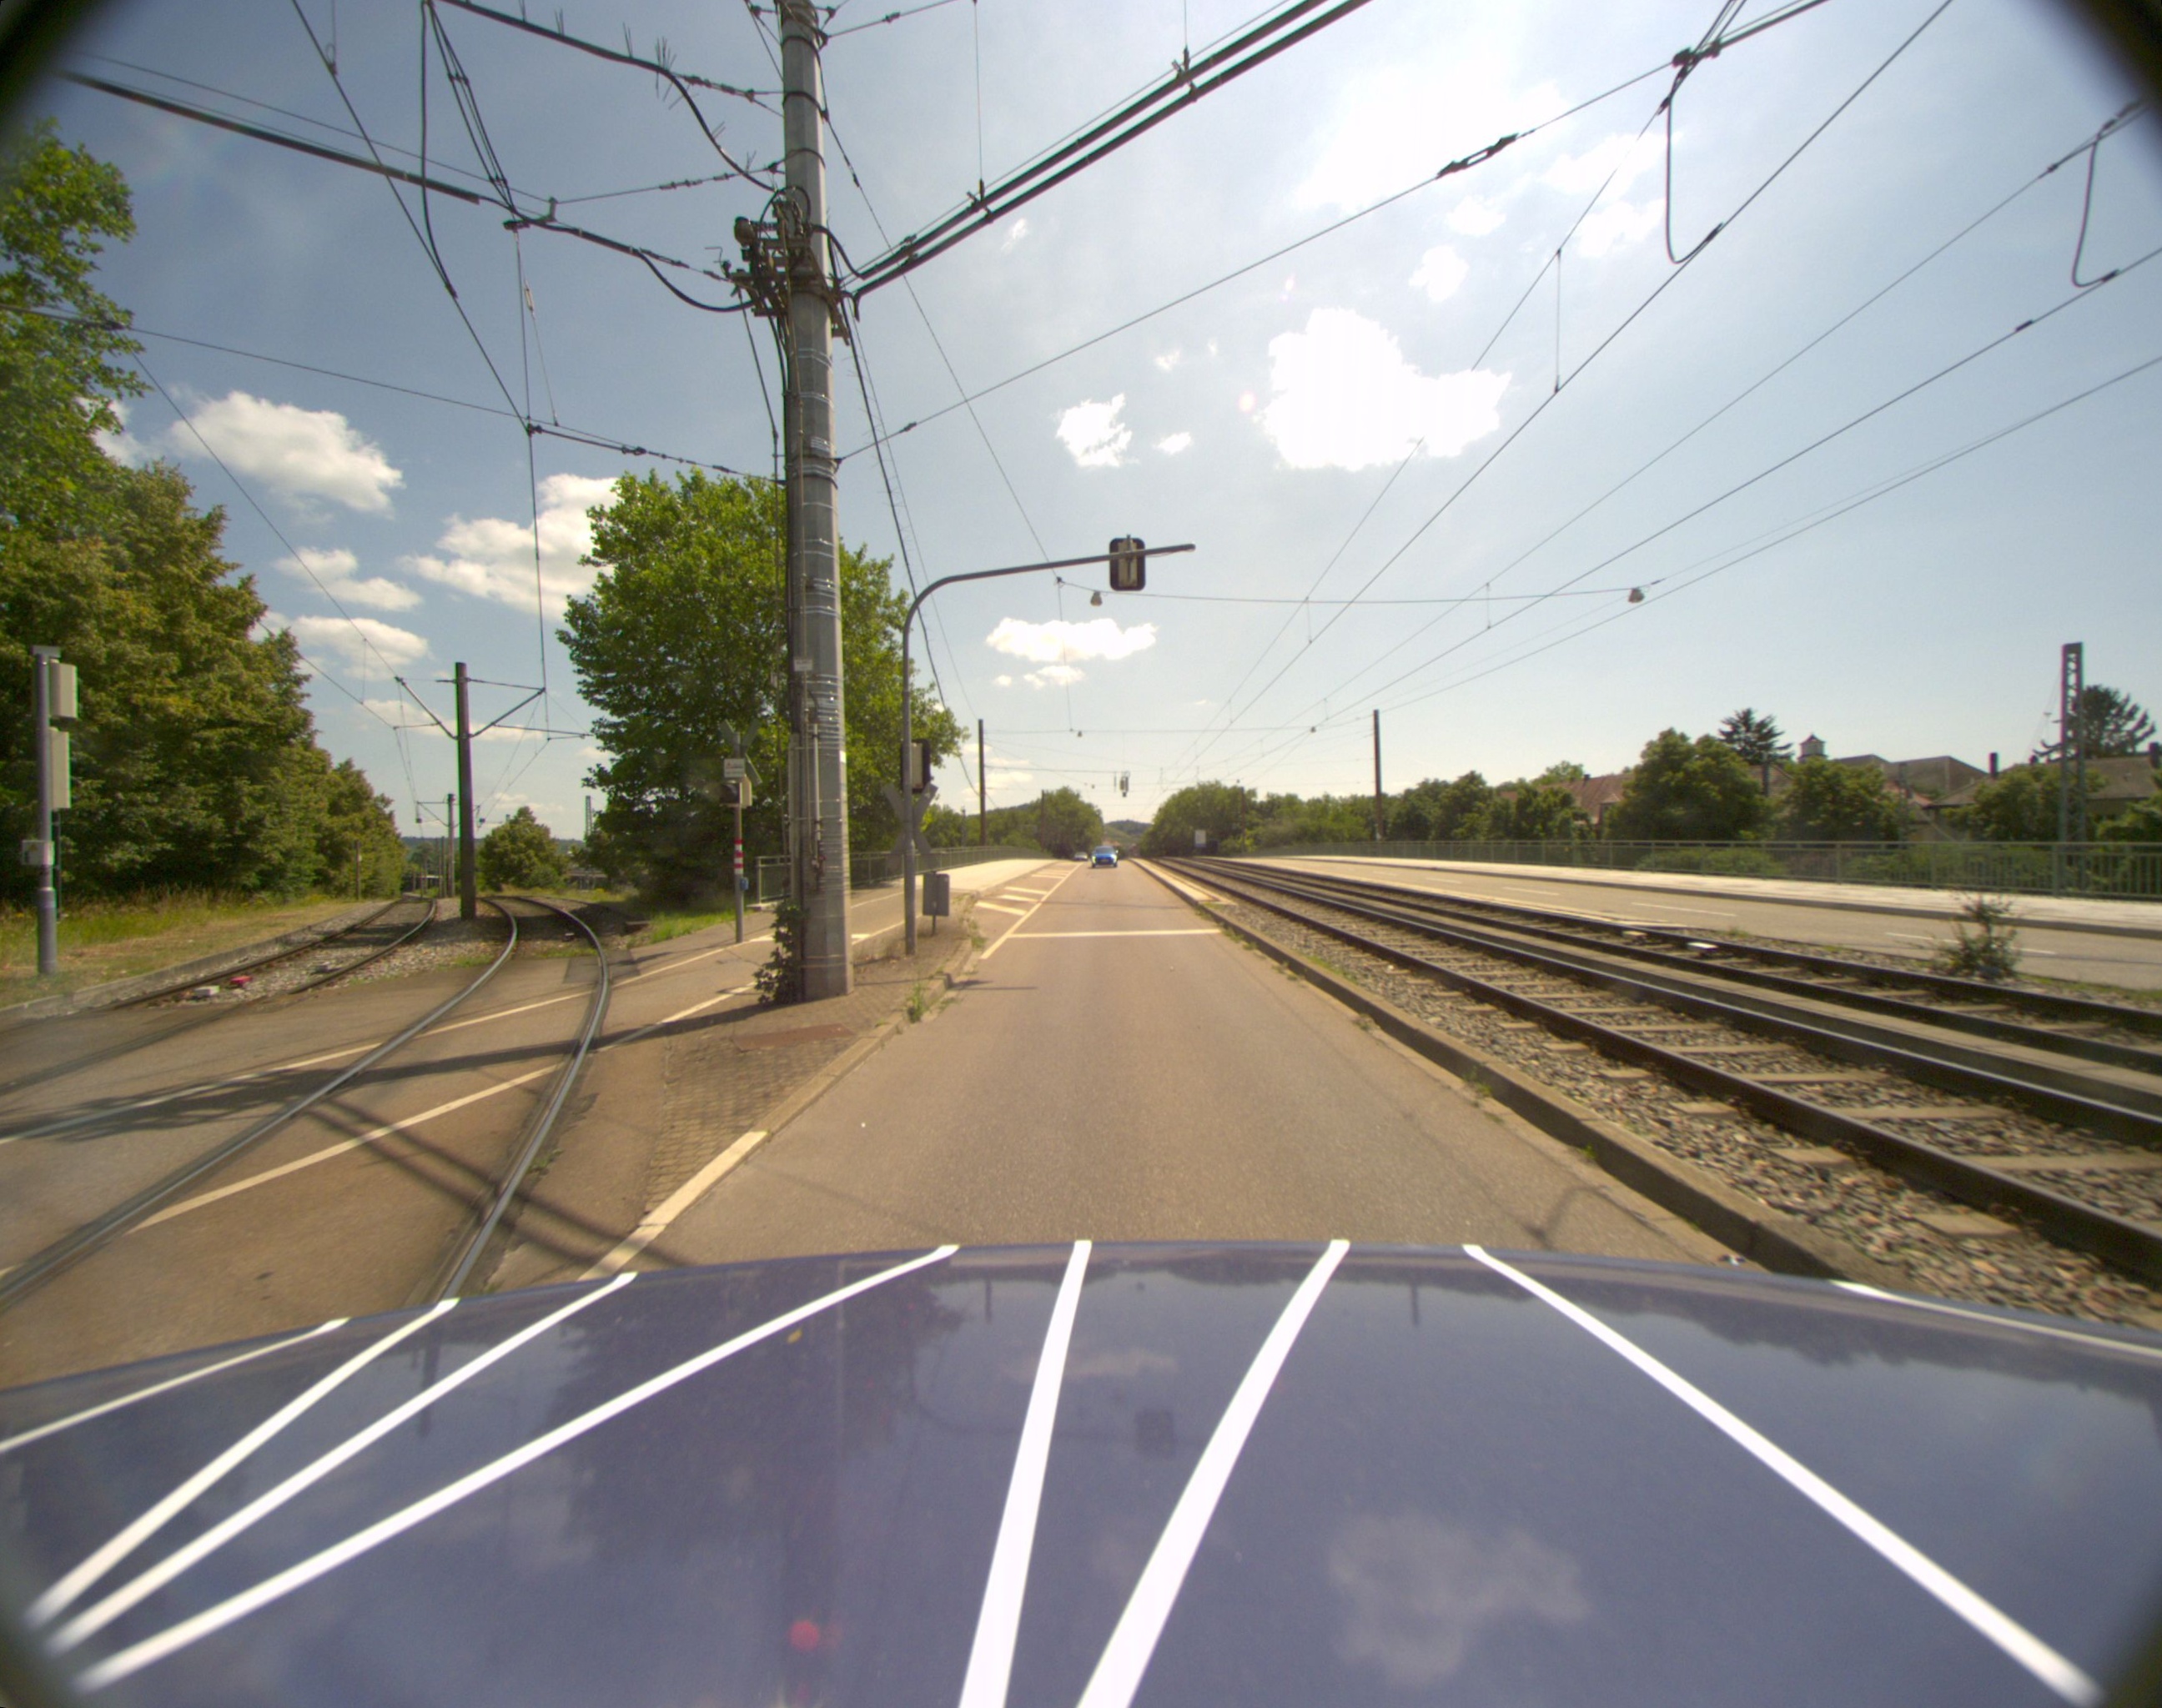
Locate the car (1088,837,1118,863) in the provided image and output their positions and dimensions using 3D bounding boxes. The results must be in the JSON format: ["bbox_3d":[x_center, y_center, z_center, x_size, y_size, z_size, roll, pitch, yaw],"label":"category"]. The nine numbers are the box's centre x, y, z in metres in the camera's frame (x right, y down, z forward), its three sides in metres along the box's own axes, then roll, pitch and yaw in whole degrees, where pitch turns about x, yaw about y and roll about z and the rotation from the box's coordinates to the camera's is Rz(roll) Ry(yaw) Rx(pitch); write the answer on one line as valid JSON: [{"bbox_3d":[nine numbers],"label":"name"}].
[{"bbox_3d":[1.491,-0.223,52.123,1.865,1.630,4.001,-2,-1,1],"label":"car"}]

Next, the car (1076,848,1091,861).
[{"bbox_3d":[0.311,0.059,101.329,1.999,1.542,4.722,-2,-1,-1],"label":"car"}]
